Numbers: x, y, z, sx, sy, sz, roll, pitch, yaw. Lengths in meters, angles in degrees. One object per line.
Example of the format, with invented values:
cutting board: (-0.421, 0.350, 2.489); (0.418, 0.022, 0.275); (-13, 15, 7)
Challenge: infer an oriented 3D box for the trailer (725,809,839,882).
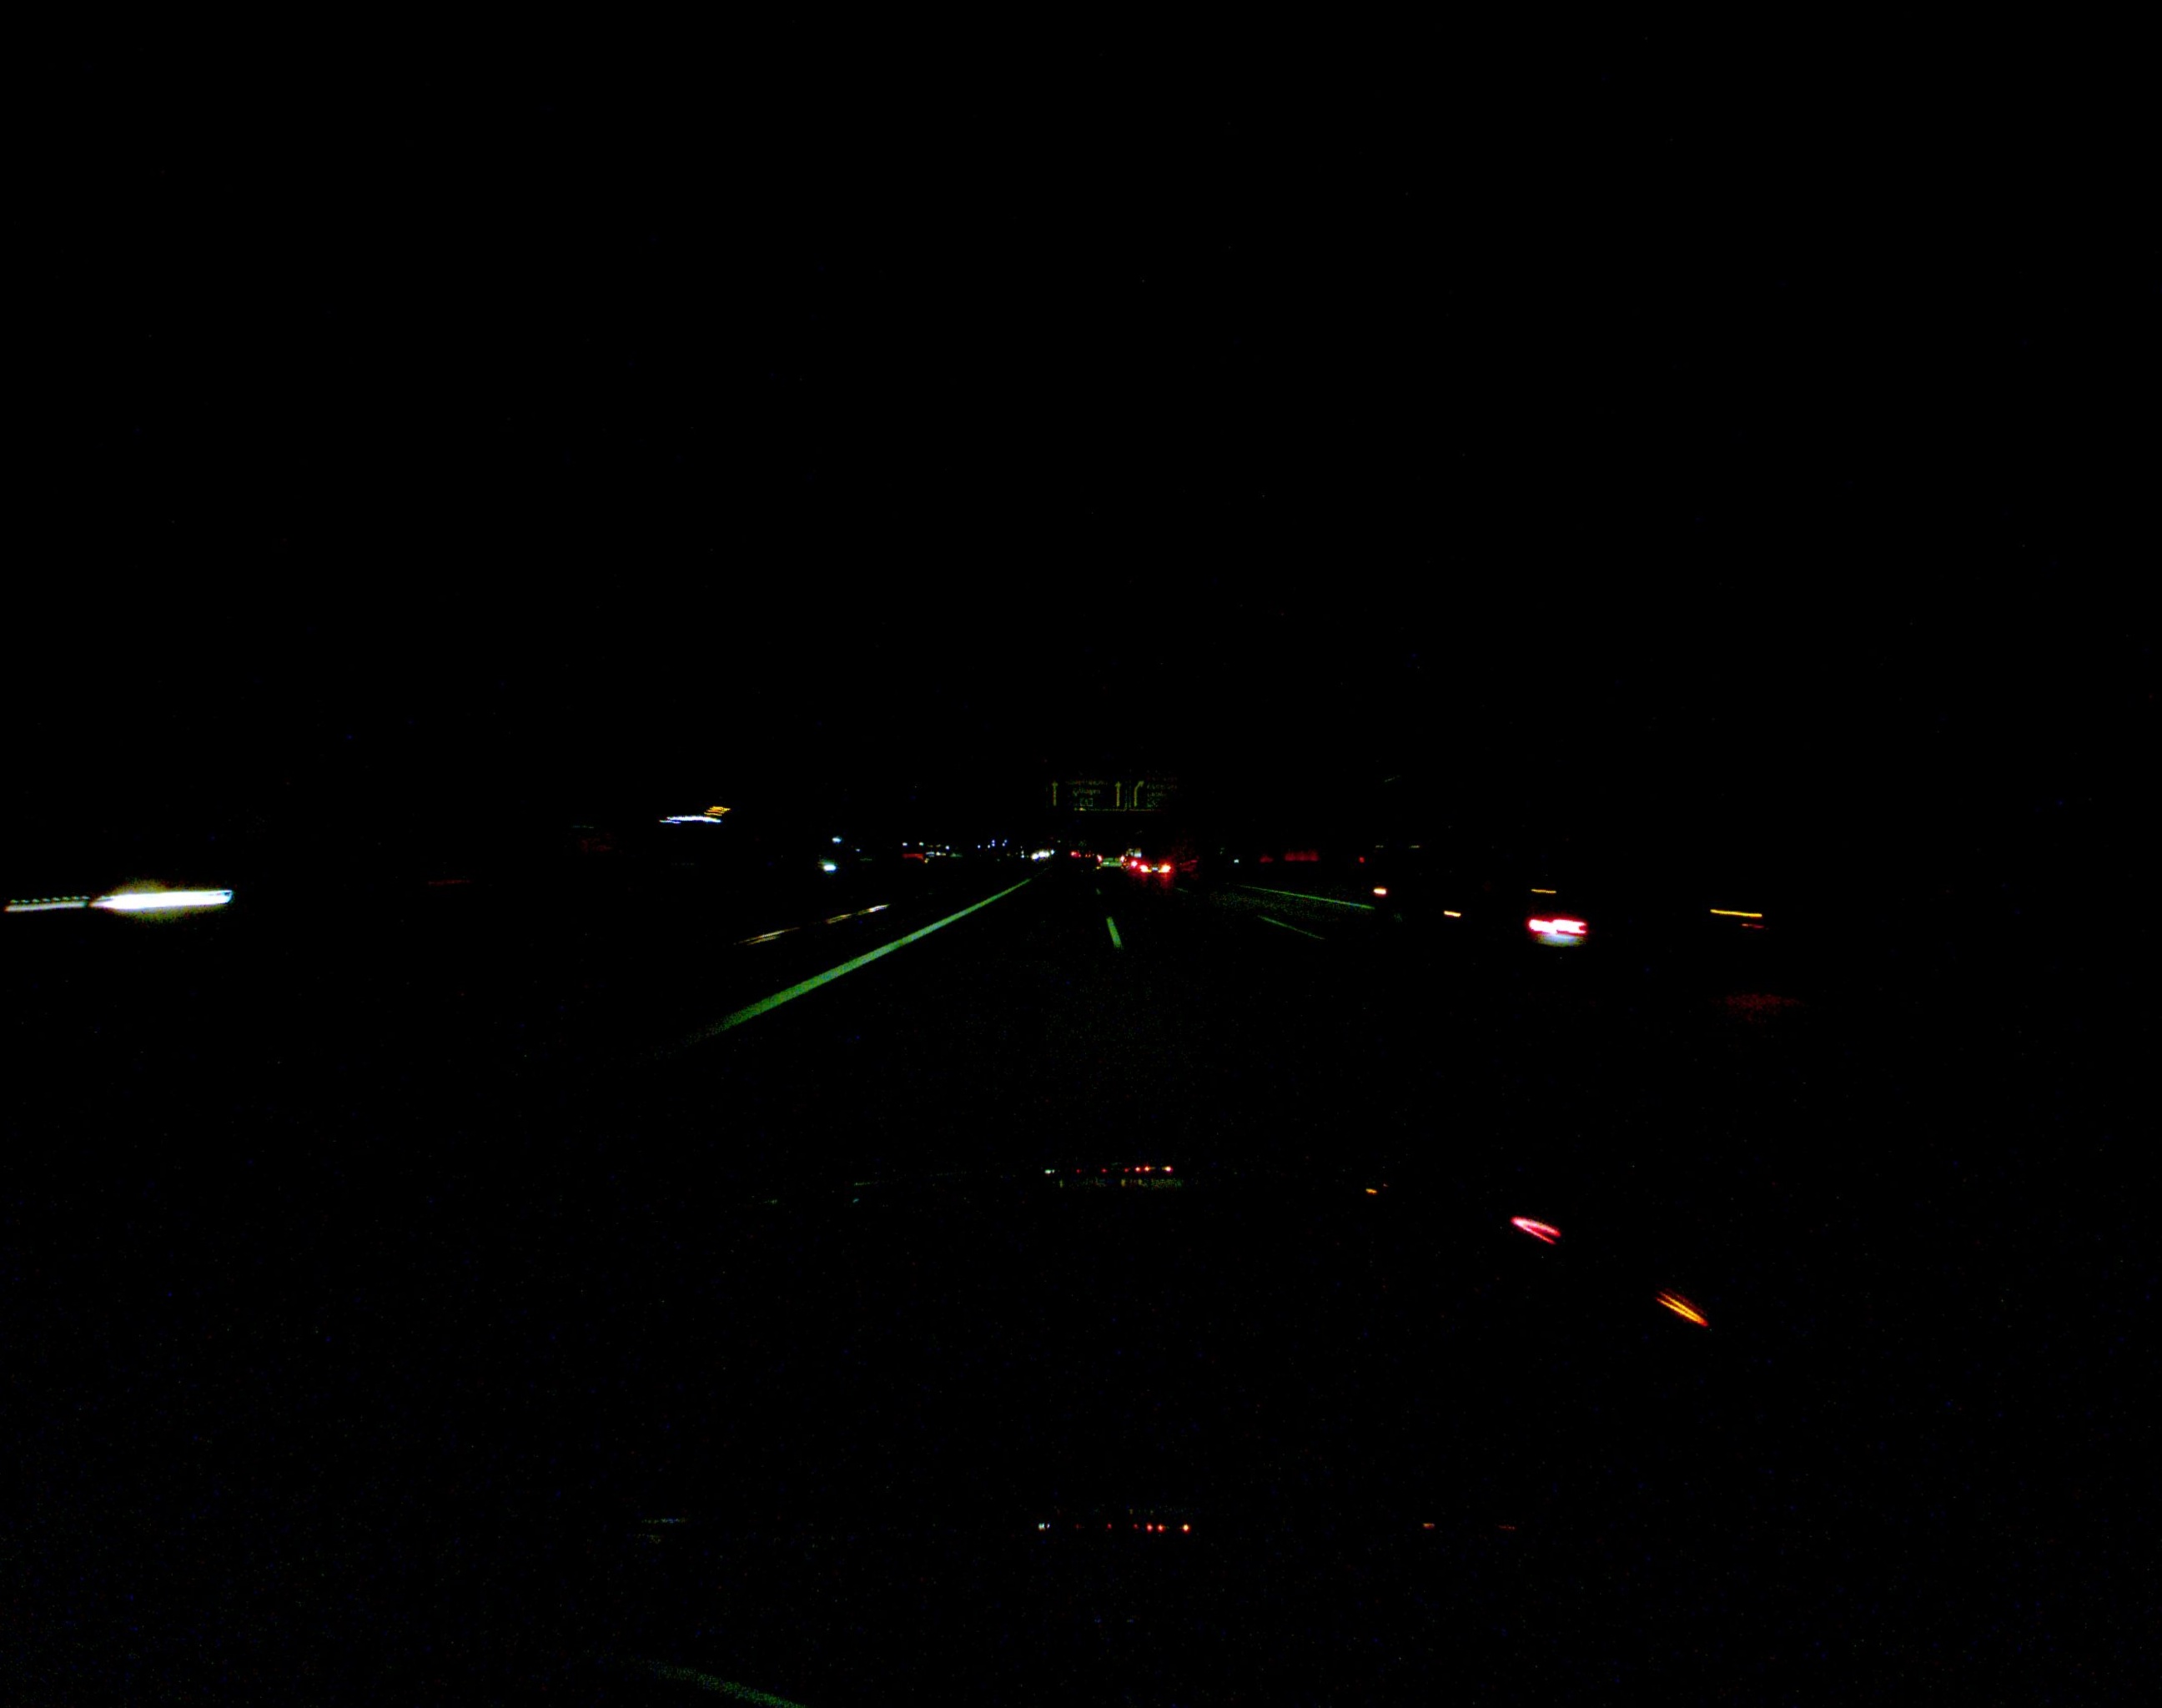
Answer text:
trailer: (-16.709, -0.369, 46.633); (2.386, 3.627, 11.177); (1, -1, 0)

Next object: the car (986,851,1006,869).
car: (-9.999, 0.725, 96.140); (1.988, 2.014, 3.996); (2, -1, -2)

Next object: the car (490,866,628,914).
car: (-16.612, 1.101, 26.188); (1.564, 1.354, 4.241); (0, 0, 2)

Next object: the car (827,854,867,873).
car: (-16.800, 0.661, 58.642); (1.566, 1.354, 4.639); (0, 0, -1)

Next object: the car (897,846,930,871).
car: (-14.028, 0.387, 68.479); (1.988, 2.014, 3.996); (2, -1, -2)

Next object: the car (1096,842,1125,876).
car: (2.390, 0.447, 66.534); (2.328, 2.640, 5.248); (0, -2, 1)

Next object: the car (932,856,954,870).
car: (-13.721, 0.848, 80.854); (1.566, 1.354, 3.998); (0, 0, -1)

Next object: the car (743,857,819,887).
car: (-13.811, 0.797, 37.763); (1.789, 1.354, 4.241); (0, 0, 2)

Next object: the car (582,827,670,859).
car: (-20.362, -0.456, 36.638); (1.564, 1.354, 4.002); (0, 0, 2)

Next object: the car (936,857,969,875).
car: (-9.594, 0.871, 61.143); (1.563, 1.354, 4.004); (0, 0, 4)

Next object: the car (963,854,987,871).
car: (-8.981, 0.710, 69.165); (1.565, 1.354, 3.999); (0, 0, 0)

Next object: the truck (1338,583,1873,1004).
truck: (6.349, -0.593, 11.778); (2.852, 4.077, 7.510); (-2, 0, 0)

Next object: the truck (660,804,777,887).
truck: (-16.738, -0.342, 38.143); (2.395, 3.514, 6.723); (1, 0, 0)

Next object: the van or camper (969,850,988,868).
van or camper: (-15.315, 0.684, 122.430); (2.078, 2.632, 7.599); (0, 0, -2)

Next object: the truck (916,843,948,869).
truck: (-18.013, 0.287, 98.989); (2.548, 2.986, 7.449); (0, -1, -1)

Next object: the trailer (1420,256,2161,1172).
trailer: (6.254, -0.636, 5.086); (2.844, 4.067, 13.206); (-2, 0, 1)

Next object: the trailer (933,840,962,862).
trailer: (-22.830, -0.490, 139.737); (2.951, 3.442, 13.430); (1, 0, -1)

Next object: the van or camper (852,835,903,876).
van or camper: (-17.038, 0.160, 68.653); (2.425, 3.272, 7.391); (0, 0, -1)

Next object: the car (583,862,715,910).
car: (-13.539, 0.959, 25.834); (1.789, 1.354, 4.241); (0, 0, 2)

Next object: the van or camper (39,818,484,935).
van or camper: (-16.901, 0.394, 17.851); (2.181, 2.014, 7.636); (0, 0, -2)

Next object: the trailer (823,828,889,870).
trailer: (-21.164, -0.431, 77.550); (2.874, 3.675, 13.125); (0, 0, -1)

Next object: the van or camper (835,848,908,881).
van or camper: (-9.210, 0.459, 36.258); (1.814, 1.354, 5.351); (0, 0, 0)

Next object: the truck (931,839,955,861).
truck: (-22.714, -0.625, 134.184); (2.951, 3.442, 6.358); (1, 0, -1)

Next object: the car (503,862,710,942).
car: (-9.196, 0.858, 16.212); (1.563, 1.354, 4.004); (0, 0, 4)

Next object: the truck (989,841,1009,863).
truck: (-14.772, -0.287, 146.841); (2.866, 3.674, 6.775); (2, -1, -1)

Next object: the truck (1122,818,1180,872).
truck: (6.707, -0.663, 82.613); (3.902, 4.627, 21.012); (-2, -1, 0)

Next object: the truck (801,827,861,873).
truck: (-20.979, -0.303, 68.813); (2.874, 3.675, 7.260); (0, 0, -1)

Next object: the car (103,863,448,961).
car: (-12.943, 0.839, 13.505); (1.563, 1.354, 4.004); (0, 0, 4)

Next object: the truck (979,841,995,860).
truck: (-18.720, -0.614, 162.929); (2.869, 3.673, 6.042); (1, 0, -4)

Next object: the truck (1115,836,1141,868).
truck: (6.952, -0.311, 121.389); (3.332, 4.476, 13.914); (1, 0, 1)

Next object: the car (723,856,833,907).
car: (-9.236, 0.791, 25.173); (1.651, 1.471, 4.004); (0, 0, 4)

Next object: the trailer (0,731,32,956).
trailer: (-16.727, -0.261, 7.291); (2.596, 3.176, 9.007); (2, -1, 2)

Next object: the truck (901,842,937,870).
truck: (-17.862, 0.308, 90.376); (2.548, 2.986, 7.449); (0, -1, -1)
